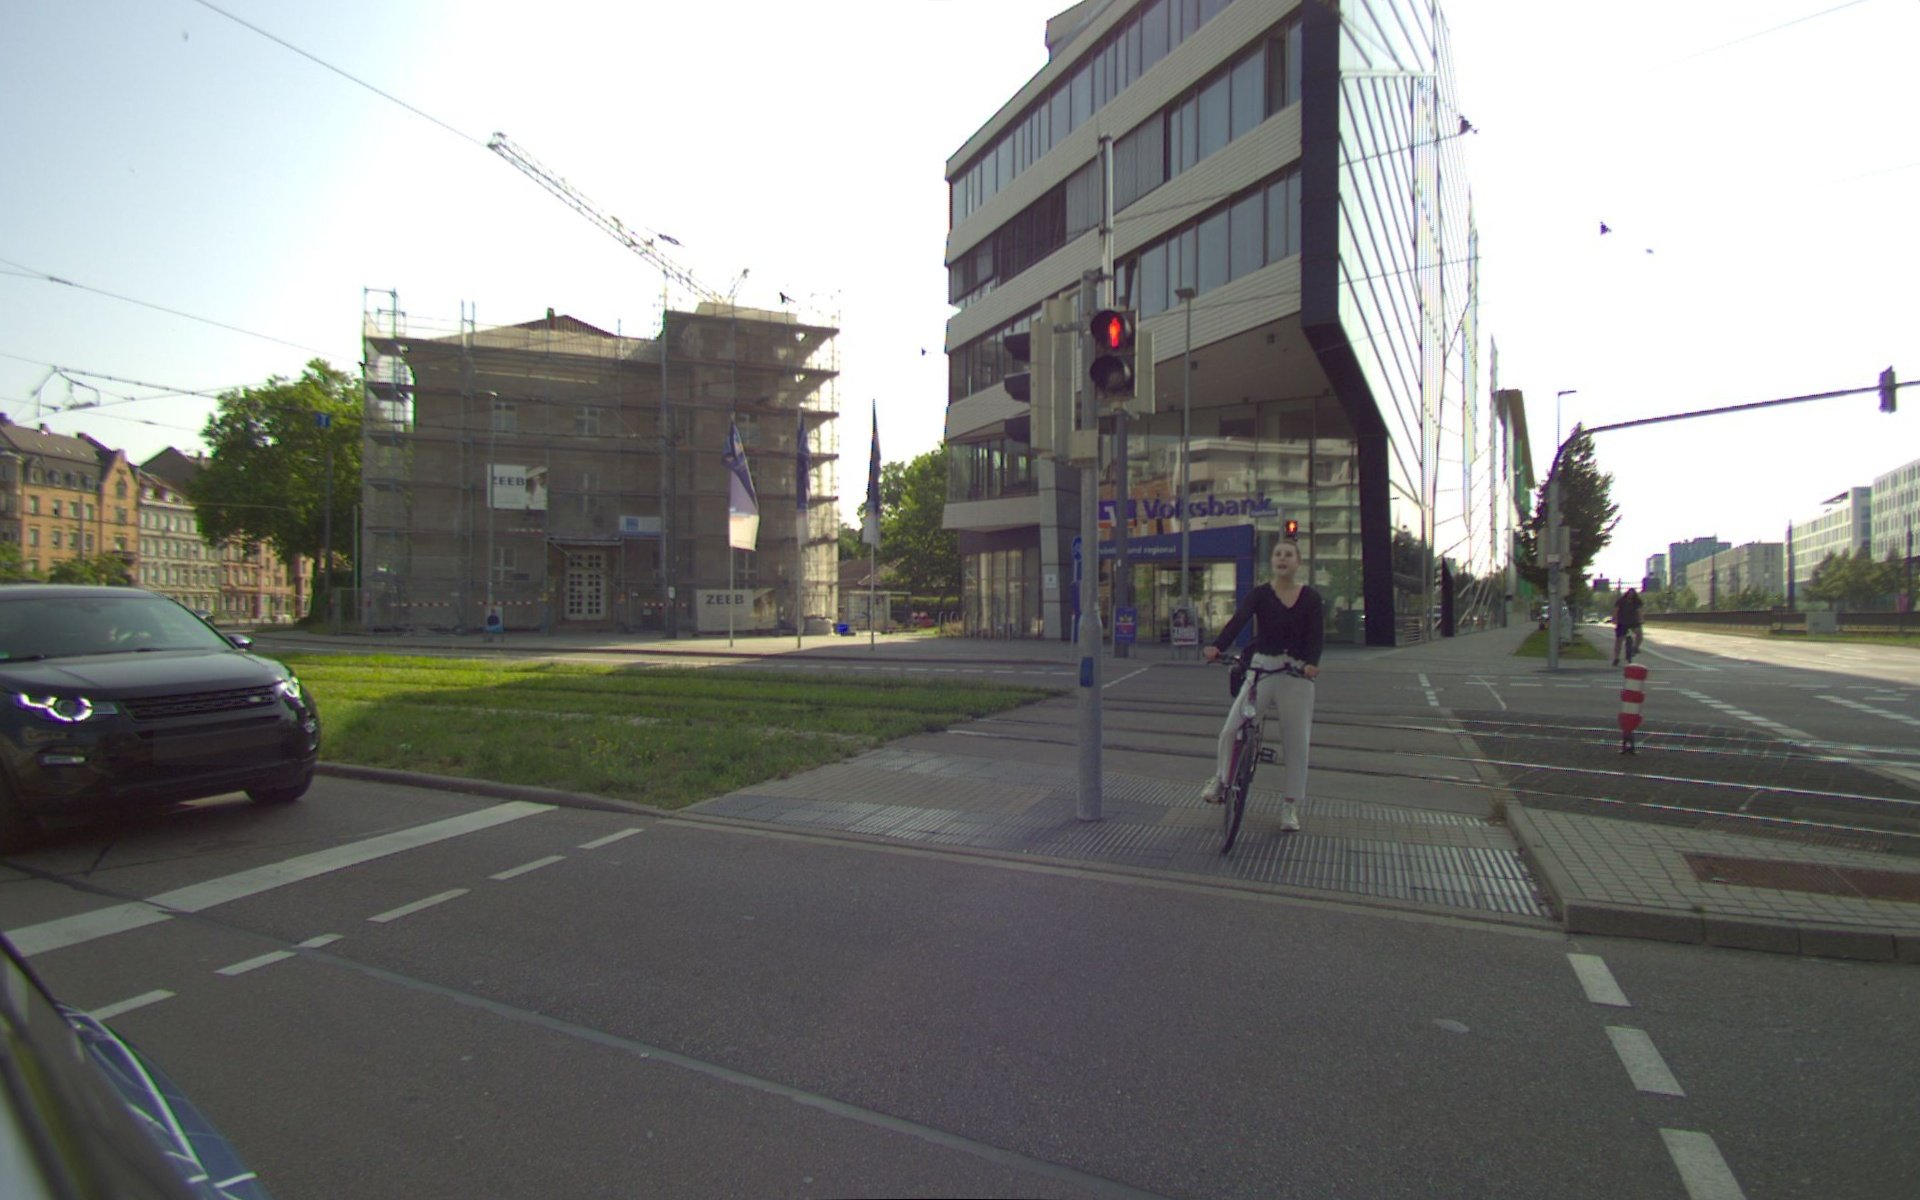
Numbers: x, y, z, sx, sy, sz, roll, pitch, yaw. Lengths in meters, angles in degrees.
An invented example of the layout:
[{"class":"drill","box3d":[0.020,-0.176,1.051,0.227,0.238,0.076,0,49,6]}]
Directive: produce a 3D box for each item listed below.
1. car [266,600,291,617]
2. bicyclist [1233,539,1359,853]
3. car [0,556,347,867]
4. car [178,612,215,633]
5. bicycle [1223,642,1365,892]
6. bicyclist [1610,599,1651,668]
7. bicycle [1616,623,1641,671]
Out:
[{"class":"car","box3d":[-81.372,0.967,120.900,1.965,1.993,4.013,0,1,-26]},{"class":"bicyclist","box3d":[1.969,0.520,5.934,0.665,1.715,0.633,0,0,20]},{"class":"car","box3d":[-6.569,0.643,7.340,4.203,1.690,1.785,0,-2,29]},{"class":"car","box3d":[-74.653,2.165,98.972,1.965,2.029,4.013,1,-1,-23]},{"class":"bicycle","box3d":[1.936,0.849,5.846,0.665,1.106,1.793,0,1,19]},{"class":"bicyclist","box3d":[16.147,0.791,24.371,0.782,1.598,0.921,0,1,36]},{"class":"bicycle","box3d":[16.134,1.107,24.399,0.418,1.064,1.936,0,1,36]}]
